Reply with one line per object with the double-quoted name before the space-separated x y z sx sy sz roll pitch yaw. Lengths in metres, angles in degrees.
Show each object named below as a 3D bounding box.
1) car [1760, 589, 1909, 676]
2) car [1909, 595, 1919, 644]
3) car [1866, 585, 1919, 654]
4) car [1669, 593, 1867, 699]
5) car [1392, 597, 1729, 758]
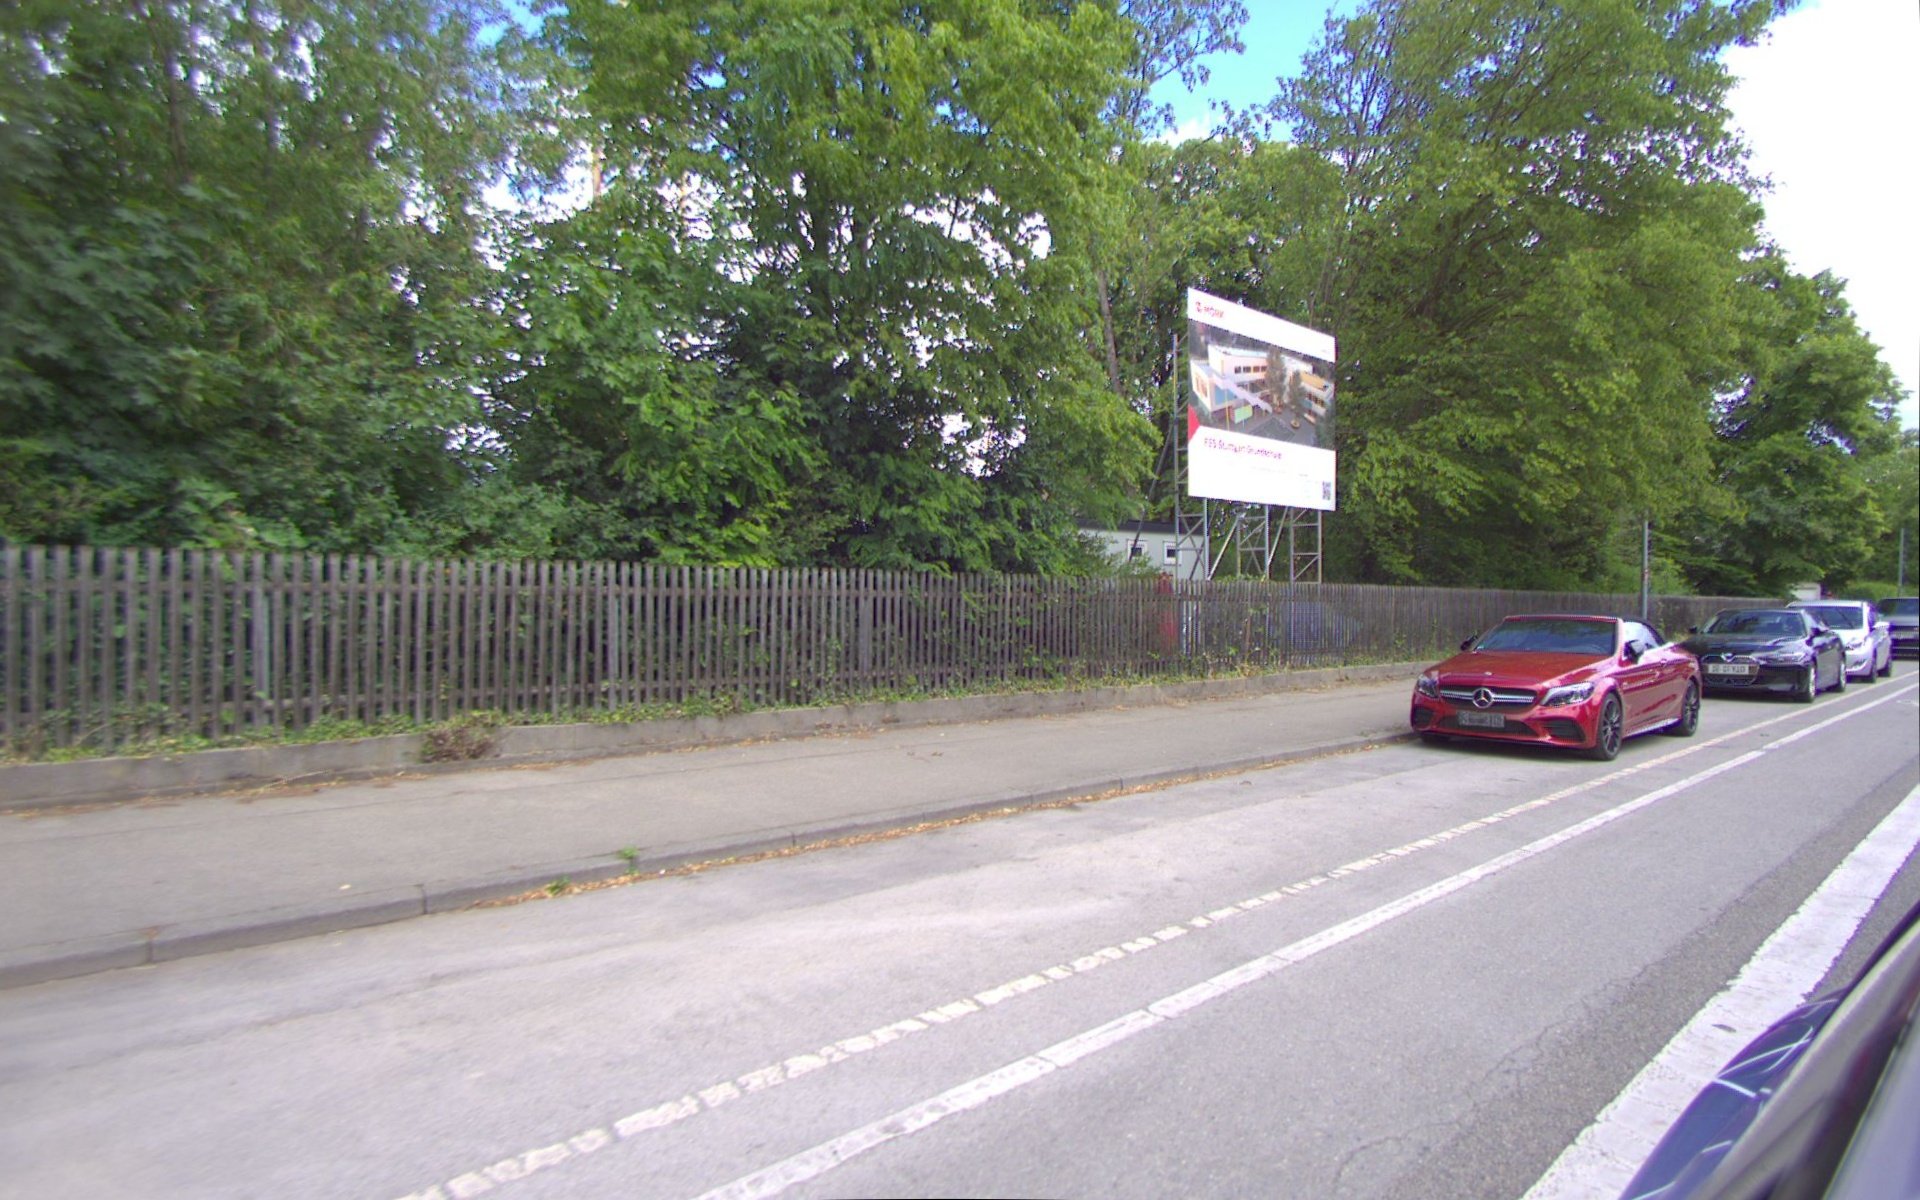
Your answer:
"car" 18.179 0.594 20.974 4.346 1.609 1.865 0 0 -42
"car" 32.044 0.622 32.720 3.855 1.520 1.687 -1 0 -43
"car" 27.288 0.496 28.490 4.742 1.839 1.997 -1 0 -40
"car" 13.717 0.669 17.082 4.599 1.534 1.819 -1 0 -41
"car" 6.743 0.728 11.175 4.364 1.432 1.862 1 -2 -40
